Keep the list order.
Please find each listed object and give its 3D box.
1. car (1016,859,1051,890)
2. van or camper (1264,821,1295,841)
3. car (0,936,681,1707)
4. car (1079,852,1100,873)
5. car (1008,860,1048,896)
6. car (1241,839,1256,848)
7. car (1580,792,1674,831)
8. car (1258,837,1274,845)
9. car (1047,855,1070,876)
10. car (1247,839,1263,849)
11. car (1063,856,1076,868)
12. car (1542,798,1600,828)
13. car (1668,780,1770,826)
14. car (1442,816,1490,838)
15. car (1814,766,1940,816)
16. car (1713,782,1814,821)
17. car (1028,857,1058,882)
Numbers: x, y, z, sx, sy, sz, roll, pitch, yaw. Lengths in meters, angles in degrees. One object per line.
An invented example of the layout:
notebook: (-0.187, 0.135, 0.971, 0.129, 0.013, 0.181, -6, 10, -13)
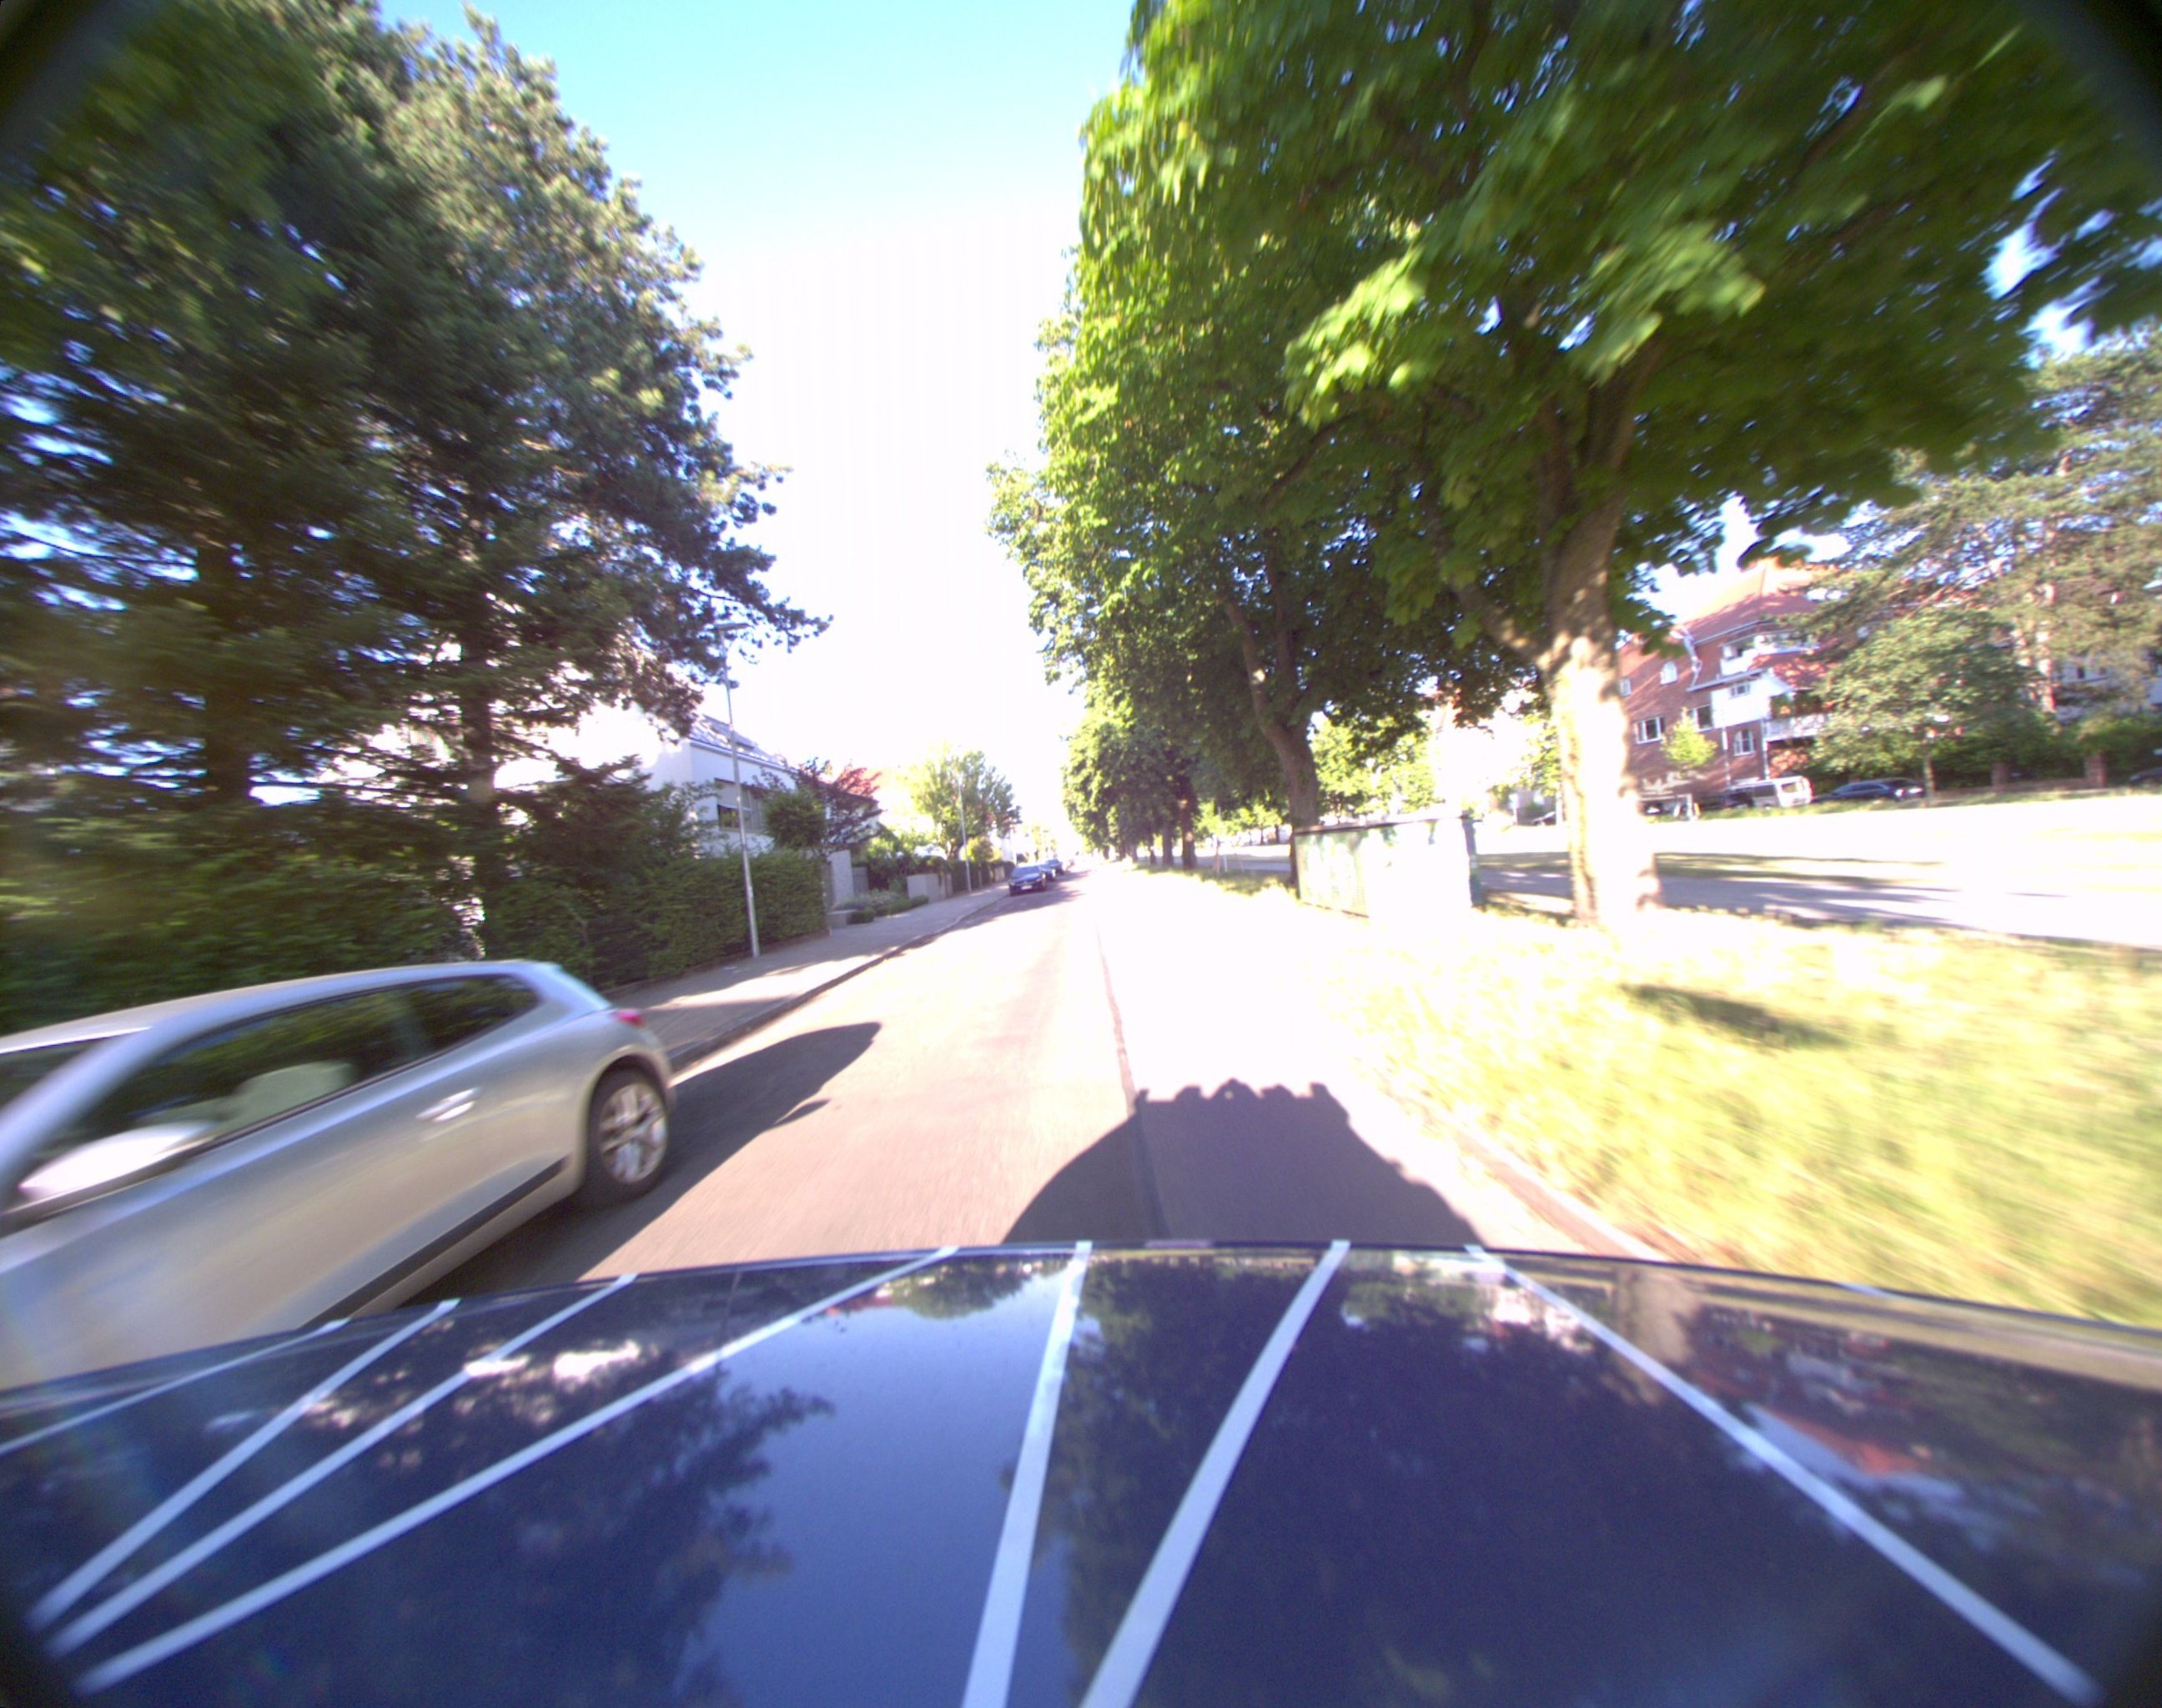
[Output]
car: (-2.799, 1.180, 44.878, 1.696, 1.474, 3.928, -10, 1, -3)
van or camper: (35.005, -4.029, 134.099, 3.262, 3.092, 7.896, -6, 0, 1)
car: (-3.271, 1.349, 2.196, 1.761, 1.412, 4.071, -12, 0, 1)
car: (0.968, 0.874, 83.530, 1.998, 2.002, 4.000, -7, 1, 1)
car: (-2.674, 1.204, 39.499, 1.753, 1.468, 4.287, -8, 0, -2)
car: (35.263, -2.116, 159.624, 1.998, 1.680, 4.875, -6, 0, 1)
car: (33.971, -2.583, 47.485, 1.998, 1.929, 5.246, -6, 0, 1)
car: (41.190, -2.860, 169.052, 1.999, 1.680, 4.874, -6, 0, -2)
car: (-2.165, 1.092, 74.553, 1.999, 1.727, 4.863, -9, 1, -1)
car: (35.199, -2.011, 154.067, 1.998, 1.680, 4.875, -6, 0, 1)
car: (-1.718, 1.145, 114.023, 1.784, 1.490, 4.397, -9, 0, -1)
car: (39.757, -3.271, 61.717, 1.761, 2.002, 4.368, -6, 0, 1)
car: (34.234, -2.697, 40.914, 1.998, 2.002, 4.000, -7, 1, 1)
car: (34.109, -2.351, 67.483, 1.824, 1.630, 4.650, -6, 0, 0)
car: (39.656, -3.077, 38.005, 1.998, 2.002, 4.000, -6, 0, 2)
car: (39.765, -3.003, 44.440, 1.821, 1.827, 4.408, -6, 0, 1)
car: (-2.677, 1.071, 54.950, 1.798, 1.483, 4.673, -7, 1, 0)
